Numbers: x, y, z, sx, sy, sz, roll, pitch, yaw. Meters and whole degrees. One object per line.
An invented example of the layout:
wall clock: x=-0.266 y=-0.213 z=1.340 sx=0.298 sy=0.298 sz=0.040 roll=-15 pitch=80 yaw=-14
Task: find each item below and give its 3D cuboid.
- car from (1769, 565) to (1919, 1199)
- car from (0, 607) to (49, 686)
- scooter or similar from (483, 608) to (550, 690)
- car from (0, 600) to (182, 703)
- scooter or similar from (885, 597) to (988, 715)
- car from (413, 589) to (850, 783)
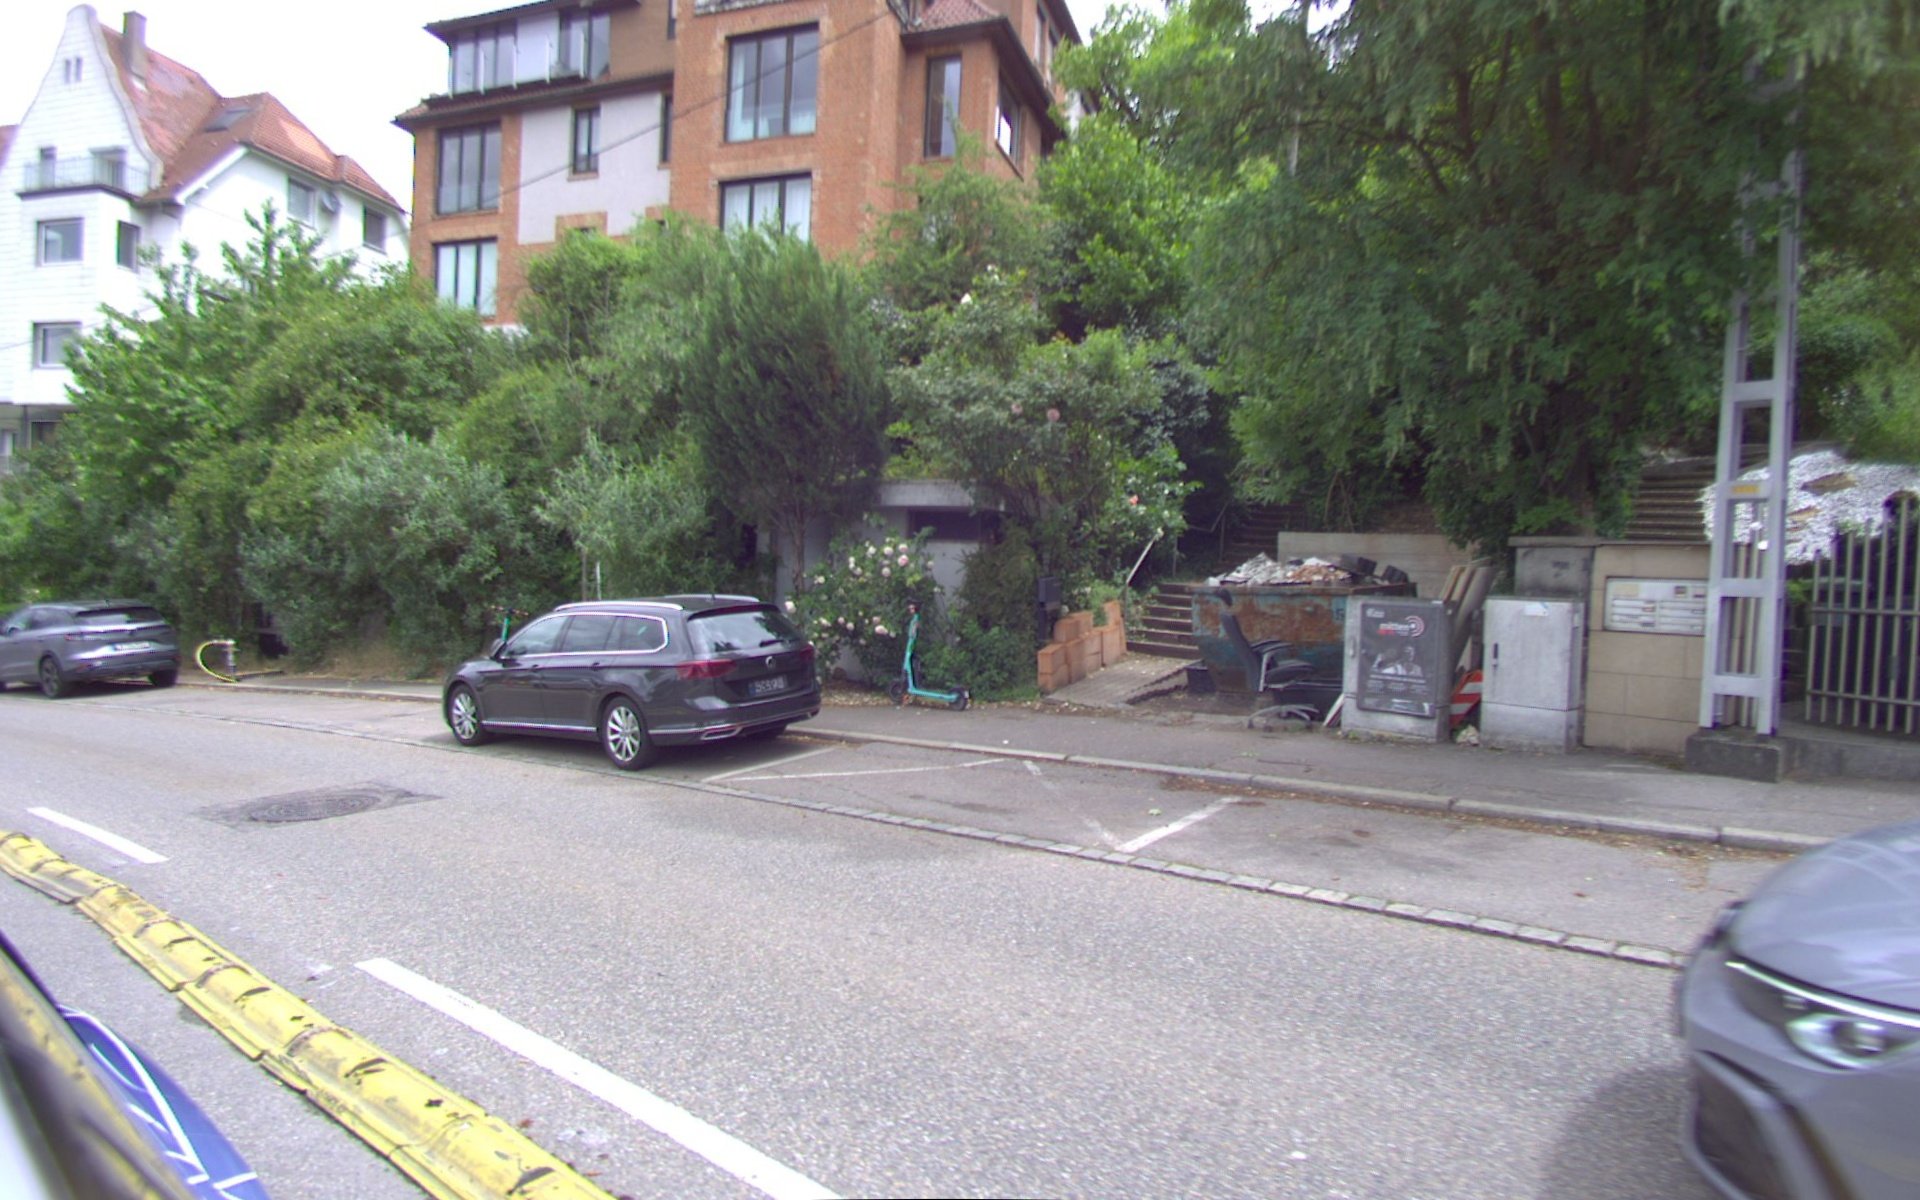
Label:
car: x=3.606 y=0.631 z=0.963 sx=4.308 sy=1.446 sz=1.748 roll=-1 pitch=-1 yaw=43
car: x=-20.853 y=0.975 z=20.734 sx=3.976 sy=1.521 sz=1.786 roll=-1 pitch=2 yaw=24
scooter or similar: x=-6.855 y=0.749 z=15.642 sx=1.041 sy=1.222 sz=0.347 roll=-1 pitch=2 yaw=29
car: x=-16.146 y=0.864 z=18.314 sx=4.167 sy=1.618 sz=1.676 roll=-1 pitch=2 yaw=28
scooter or similar: x=-0.271 y=0.601 z=11.339 sx=1.120 sy=1.241 sz=0.412 roll=-1 pitch=2 yaw=40
car: x=-3.432 y=0.708 z=10.116 sx=4.674 sy=1.462 sz=1.720 roll=-1 pitch=3 yaw=37
